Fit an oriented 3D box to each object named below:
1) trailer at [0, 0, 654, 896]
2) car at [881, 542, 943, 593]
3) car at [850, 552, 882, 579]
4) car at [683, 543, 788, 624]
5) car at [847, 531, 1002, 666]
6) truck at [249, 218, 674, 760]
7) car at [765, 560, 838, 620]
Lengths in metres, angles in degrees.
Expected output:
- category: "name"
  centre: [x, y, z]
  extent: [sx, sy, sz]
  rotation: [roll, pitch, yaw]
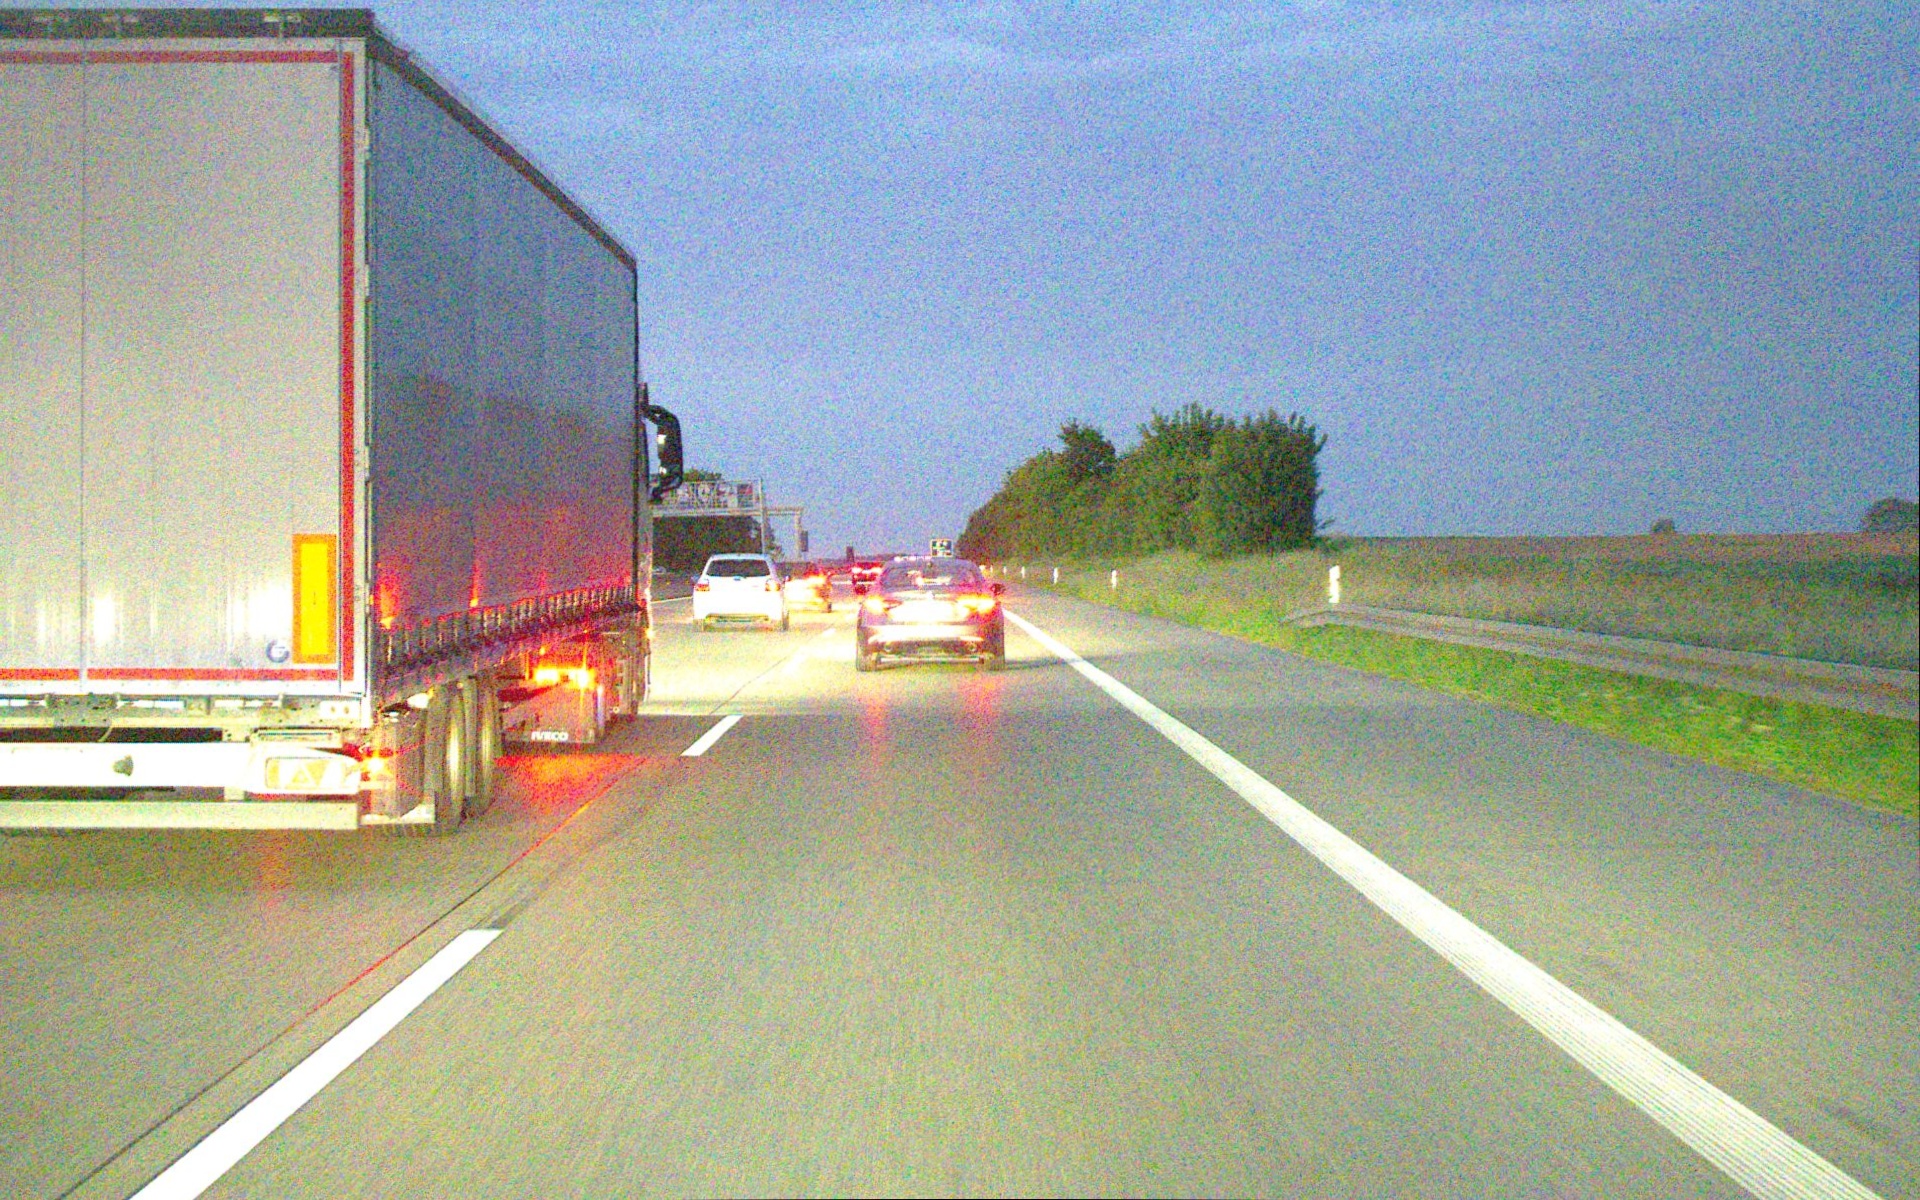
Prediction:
- category: "trailer"
  centre: [-3.894, -0.802, 22.036]
  extent: [2.794, 4.071, 14.526]
  rotation: [-1, 0, -1]
- category: "car"
  centre: [-1.495, -1.009, 106.847]
  extent: [1.880, 1.547, 4.000]
  rotation: [1, 0, -1]
- category: "car"
  centre: [-5.641, -2.076, 207.231]
  extent: [1.880, 1.547, 4.000]
  rotation: [1, 0, -1]
- category: "car"
  centre: [-4.364, -0.317, 67.272]
  extent: [1.744, 1.519, 4.414]
  rotation: [1, 0, 0]
- category: "car"
  centre: [-0.452, -0.029, 44.084]
  extent: [1.880, 1.637, 4.000]
  rotation: [1, 0, 0]
- category: "truck"
  centre: [-4.030, -0.858, 29.122]
  extent: [2.777, 4.079, 6.103]
  rotation: [-1, 0, -1]
- category: "car"
  centre: [-4.053, -0.262, 88.545]
  extent: [1.722, 1.466, 4.726]
  rotation: [1, 0, -1]
